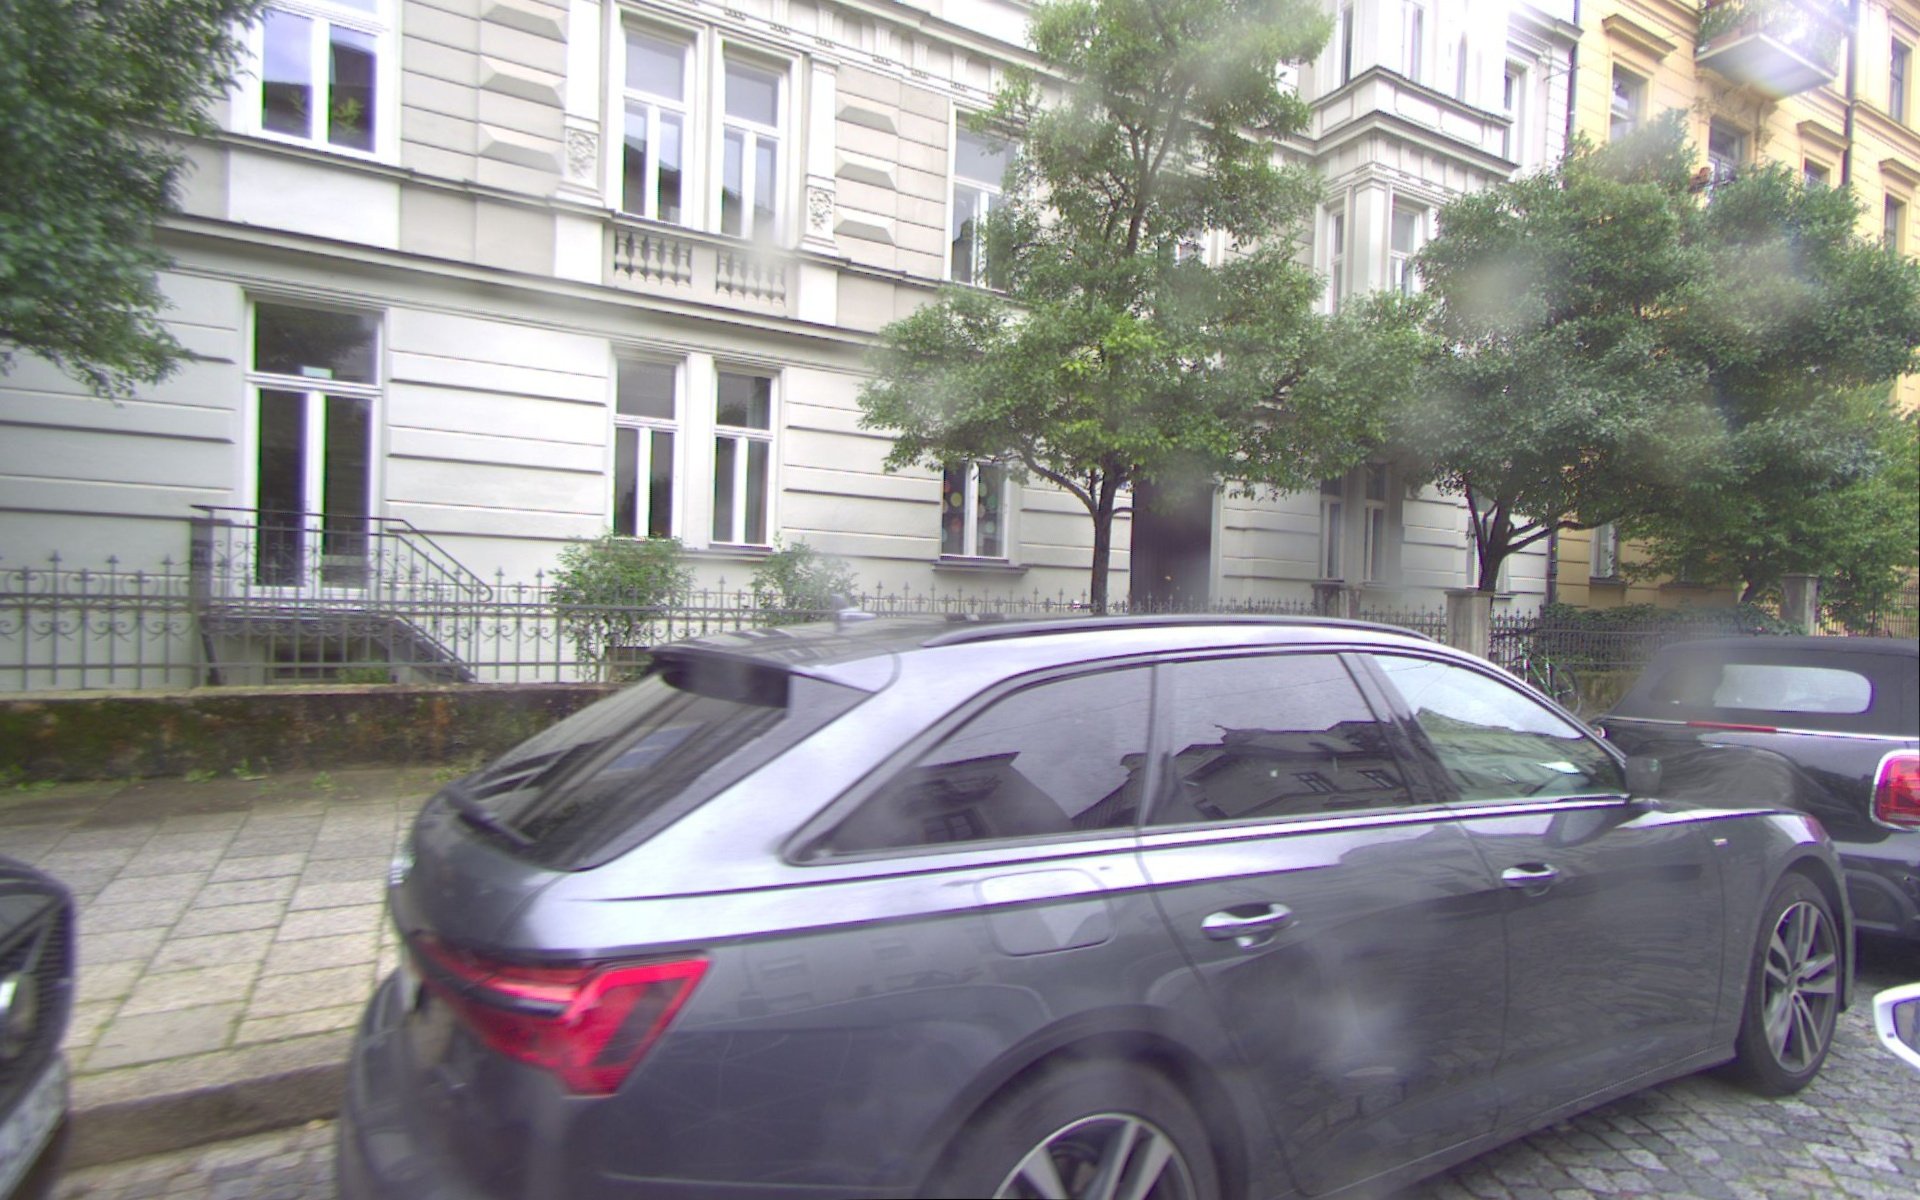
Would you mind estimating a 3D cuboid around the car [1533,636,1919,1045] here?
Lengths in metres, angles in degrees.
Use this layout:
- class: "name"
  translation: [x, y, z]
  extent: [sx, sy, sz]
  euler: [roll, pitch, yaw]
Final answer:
- class: "car"
  translation: [4.935, 0.969, 5.320]
  extent: [3.683, 1.536, 1.696]
  euler: [1, -2, -30]

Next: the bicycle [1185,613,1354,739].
- class: "bicycle"
  translation: [3.067, 0.724, 9.882]
  extent: [1.864, 1.148, 0.361]
  euler: [2, 2, -29]

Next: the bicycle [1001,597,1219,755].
- class: "bicycle"
  translation: [1.345, 0.640, 8.813]
  extent: [1.955, 1.265, 0.498]
  euler: [2, 2, -29]

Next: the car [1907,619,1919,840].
- class: "car"
  translation: [9.055, 0.944, 7.438]
  extent: [4.283, 1.560, 1.720]
  euler: [2, -3, -29]

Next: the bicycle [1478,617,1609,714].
- class: "bicycle"
  translation: [7.091, 0.783, 12.191]
  extent: [1.808, 1.117, 0.370]
  euler: [1, 1, -25]

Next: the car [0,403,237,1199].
- class: "car"
  translation: [-3.679, 0.554, 0.599]
  extent: [4.992, 1.673, 1.930]
  euler: [2, -3, -29]

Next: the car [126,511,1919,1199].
- class: "car"
  translation: [0.895, 0.739, 3.115]
  extent: [5.118, 1.524, 1.796]
  euler: [1, -2, -31]

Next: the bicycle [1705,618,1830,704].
- class: "bicycle"
  translation: [11.479, 0.873, 14.282]
  extent: [1.736, 1.159, 0.418]
  euler: [2, 1, -16]

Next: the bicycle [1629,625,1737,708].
- class: "bicycle"
  translation: [9.793, 0.890, 13.592]
  extent: [1.742, 1.041, 0.416]
  euler: [2, 1, -28]
